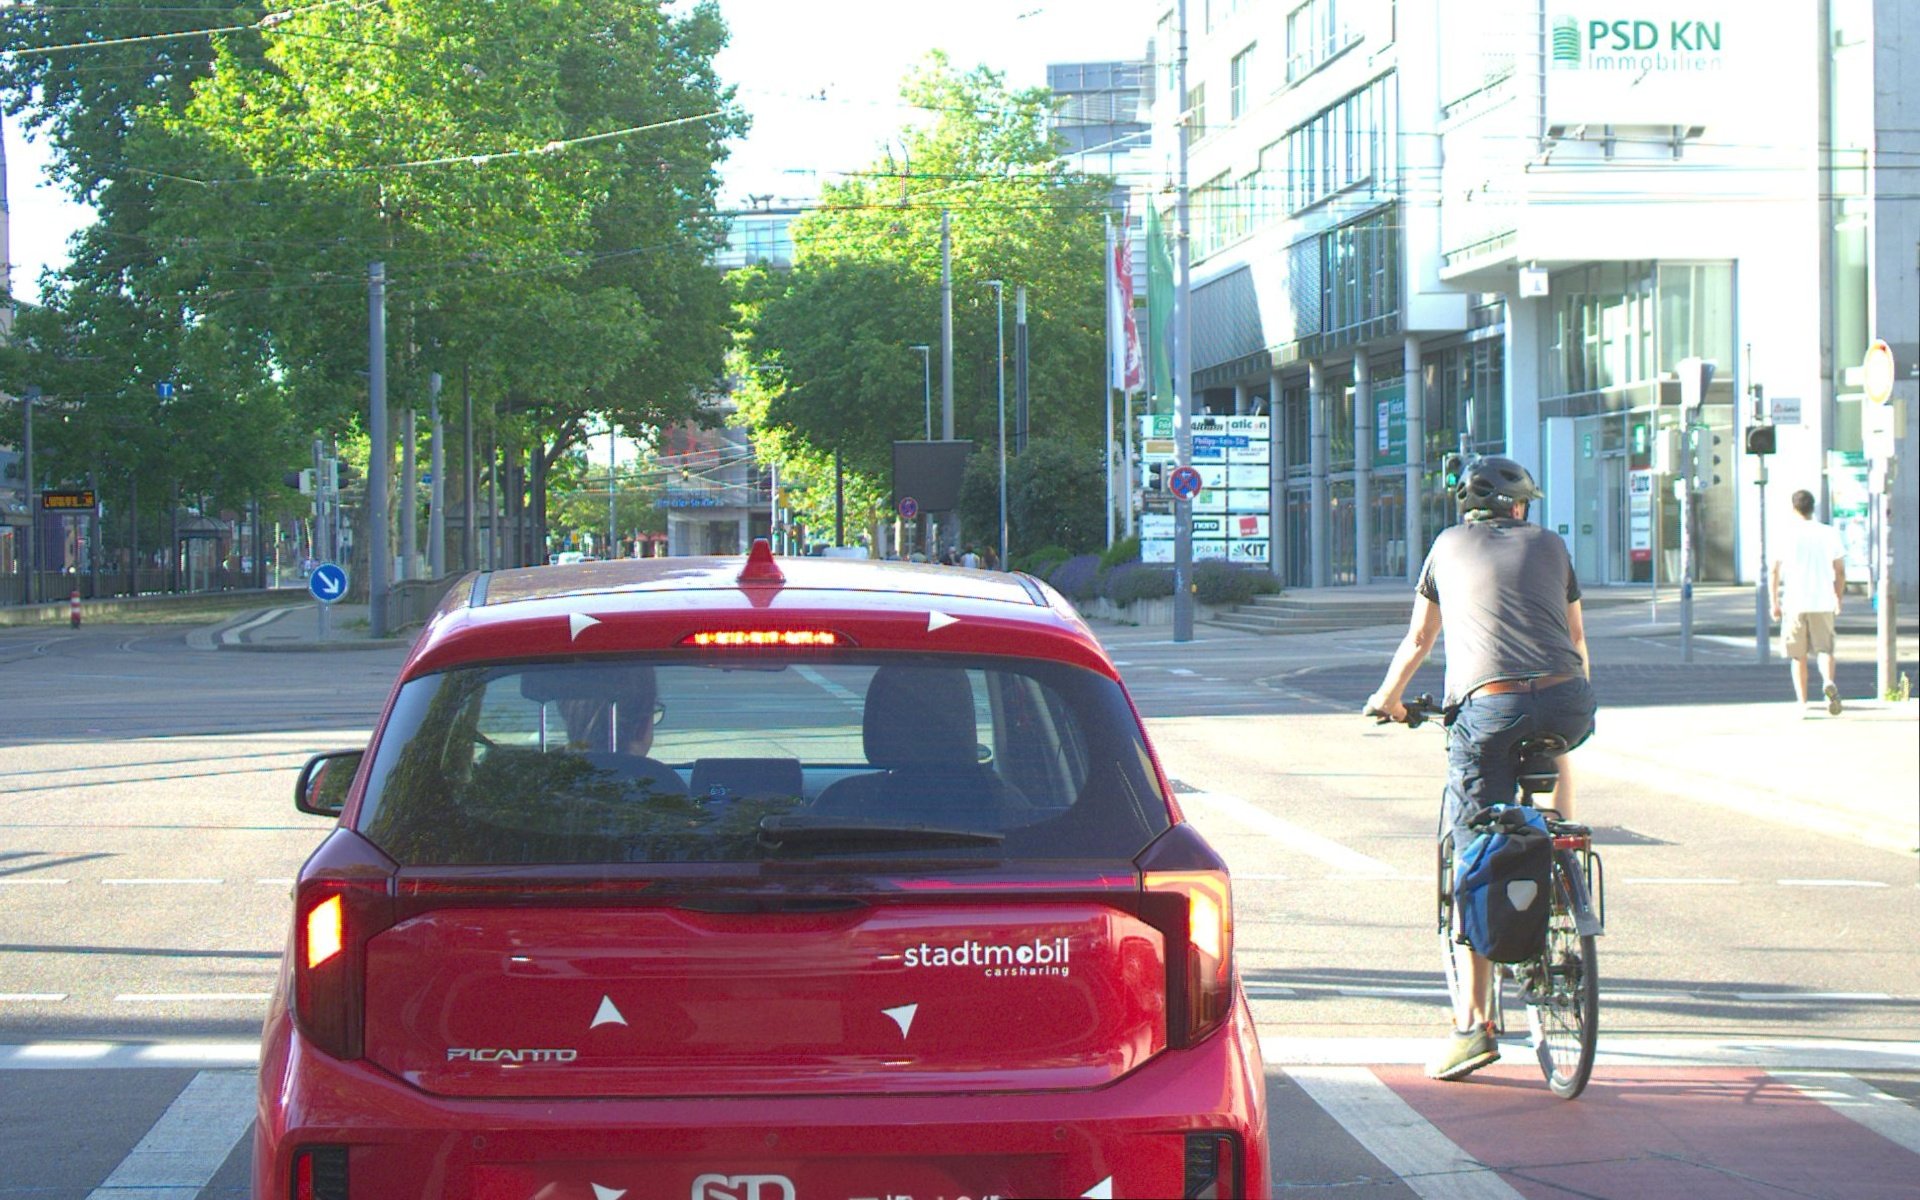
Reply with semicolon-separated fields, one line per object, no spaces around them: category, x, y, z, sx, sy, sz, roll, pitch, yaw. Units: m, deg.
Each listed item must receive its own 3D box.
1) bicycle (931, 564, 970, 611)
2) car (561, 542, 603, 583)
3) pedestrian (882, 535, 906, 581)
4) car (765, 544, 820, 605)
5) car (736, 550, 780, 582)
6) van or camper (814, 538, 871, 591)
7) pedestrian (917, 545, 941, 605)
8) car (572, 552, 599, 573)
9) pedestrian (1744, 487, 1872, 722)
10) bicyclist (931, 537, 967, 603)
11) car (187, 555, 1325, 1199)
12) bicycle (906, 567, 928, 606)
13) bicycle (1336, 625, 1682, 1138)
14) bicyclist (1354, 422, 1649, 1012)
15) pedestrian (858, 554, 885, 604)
bicycle;-0.242;-0.307;85.776;0.696;1.094;1.751;-4;2;-6
car;-19.310;-1.922;175.483;1.993;2.007;4.001;-1;1;-8
pedestrian;-2.496;-1.592;131.016;0.891;1.747;0.841;-1;1;-1
car;-5.122;-0.794;104.947;1.635;1.794;3.330;-1;1;-3
car;-10.060;-1.700;170.912;1.777;1.529;3.513;0;1;-10
van or camper;-4.542;-1.367;132.294;1.993;1.982;4.745;0;1;-4
pedestrian;-0.859;-0.694;95.893;0.646;1.674;0.651;-1;1;-1
car;-27.847;-2.810;255.835;1.777;1.529;3.413;0;1;-10
pedestrian;6.706;0.026;27.227;0.777;1.817;1.215;-1;1;4
bicyclist;-0.275;-0.759;85.687;0.721;1.597;1.089;-3;1;-6
car;-0.433;0.689;6.587;1.613;1.529;3.412;0;1;-5
bicycle;-1.189;-0.380;95.780;0.520;0.971;2.201;-4;2;0
bicycle;1.536;0.739;9.919;0.650;1.276;1.966;-1;1;-1
bicyclist;1.536;0.308;9.889;0.650;1.597;1.089;-1;1;-1
pedestrian;-2.906;-0.689;112.922;0.642;1.574;0.723;-4;1;9
